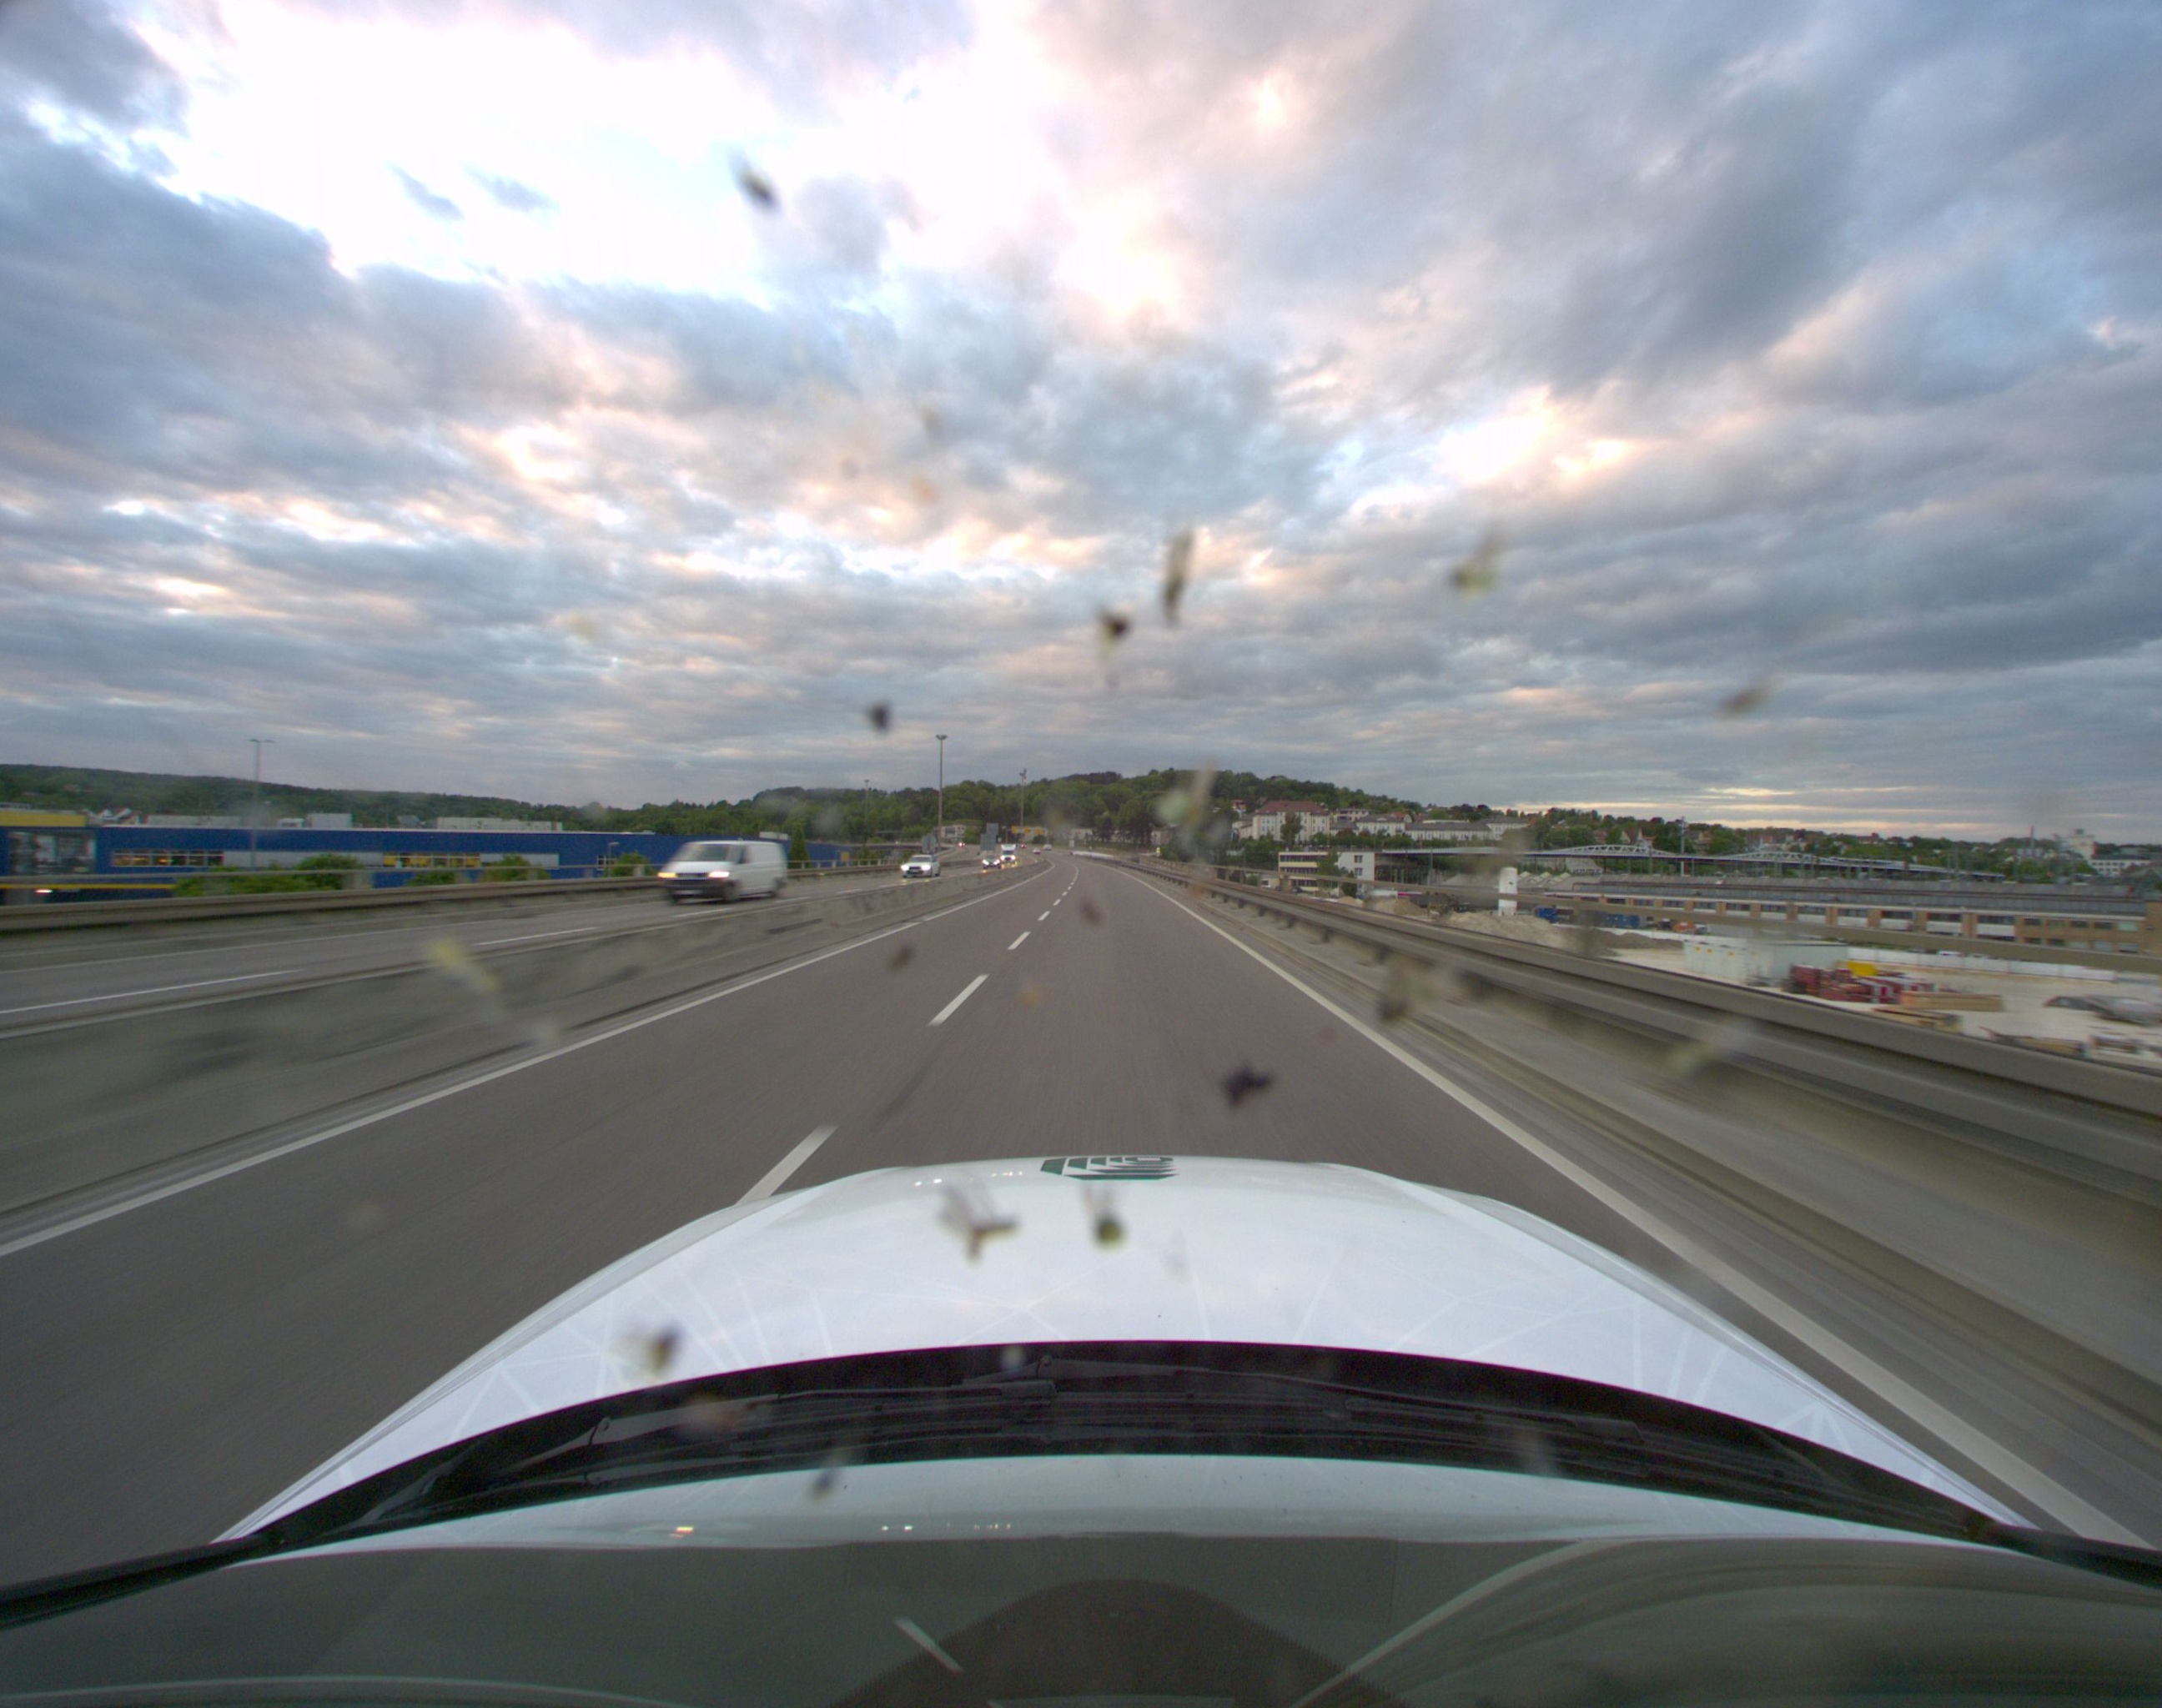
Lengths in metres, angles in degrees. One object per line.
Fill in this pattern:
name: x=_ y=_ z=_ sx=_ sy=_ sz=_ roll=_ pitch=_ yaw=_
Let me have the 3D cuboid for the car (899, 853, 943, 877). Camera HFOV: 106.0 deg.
car: x=-10.393 y=0.706 z=53.246 sx=1.825 sy=1.503 sz=4.816 roll=-1 pitch=0 yaw=0

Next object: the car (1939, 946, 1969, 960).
car: x=111.619 y=12.681 z=104.139 sx=4.014 sy=1.420 sz=1.853 roll=6 pitch=0 yaw=-33

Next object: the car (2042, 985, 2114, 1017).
car: x=65.167 y=9.584 z=53.291 sx=1.510 sy=1.442 sz=3.819 roll=6 pitch=0 yaw=28

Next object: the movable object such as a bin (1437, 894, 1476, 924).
movable object such as a bin: x=62.070 y=9.122 z=134.762 sx=4.951 sy=4.310 sz=2.770 roll=6 pitch=-1 yaw=-16

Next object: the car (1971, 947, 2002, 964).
car: x=113.192 y=12.656 z=101.802 sx=4.014 sy=1.714 sz=1.853 roll=6 pitch=0 yaw=-33

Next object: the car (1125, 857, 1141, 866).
car: x=10.229 y=1.442 z=160.166 sx=2.304 sy=1.763 sz=4.248 roll=1 pitch=1 yaw=-10

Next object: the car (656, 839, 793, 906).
car: x=-11.181 y=0.528 z=26.072 sx=1.894 sy=1.900 sz=5.460 roll=-1 pitch=0 yaw=1

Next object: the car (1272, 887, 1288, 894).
car: x=51.672 y=9.501 z=211.486 sx=4.016 sy=1.565 sz=1.813 roll=4 pitch=1 yaw=-36

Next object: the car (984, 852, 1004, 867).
car: x=-8.812 y=0.574 z=82.522 sx=1.624 sy=1.441 sz=3.834 roll=0 pitch=1 yaw=-1

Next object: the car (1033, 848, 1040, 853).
car: x=-12.440 y=-1.035 z=227.908 sx=1.630 sy=1.387 sz=3.989 roll=-1 pitch=1 yaw=-8

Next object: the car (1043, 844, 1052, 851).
car: x=-10.760 y=-1.977 z=261.019 sx=1.997 sy=2.013 sz=4.088 roll=0 pitch=2 yaw=-15

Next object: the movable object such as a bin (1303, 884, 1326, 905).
movable object such as a bin: x=54.734 y=9.411 z=190.793 sx=2.779 sy=4.310 sz=4.935 roll=6 pitch=-1 yaw=-13

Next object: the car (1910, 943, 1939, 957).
car: x=110.492 y=12.573 z=106.613 sx=4.014 sy=1.420 sz=1.853 roll=6 pitch=0 yaw=-33

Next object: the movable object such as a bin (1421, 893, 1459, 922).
movable object such as a bin: x=61.093 y=9.153 z=138.550 sx=4.951 sy=4.310 sz=2.770 roll=6 pitch=-1 yaw=-16

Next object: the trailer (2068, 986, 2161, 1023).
trailer: x=58.241 y=8.435 z=45.916 sx=1.762 sy=1.241 sz=4.277 roll=2 pitch=0 yaw=27

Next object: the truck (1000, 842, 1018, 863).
truck: x=-11.452 y=-0.182 z=129.666 sx=2.529 sy=3.297 sz=7.438 roll=0 pitch=0 yaw=-3
